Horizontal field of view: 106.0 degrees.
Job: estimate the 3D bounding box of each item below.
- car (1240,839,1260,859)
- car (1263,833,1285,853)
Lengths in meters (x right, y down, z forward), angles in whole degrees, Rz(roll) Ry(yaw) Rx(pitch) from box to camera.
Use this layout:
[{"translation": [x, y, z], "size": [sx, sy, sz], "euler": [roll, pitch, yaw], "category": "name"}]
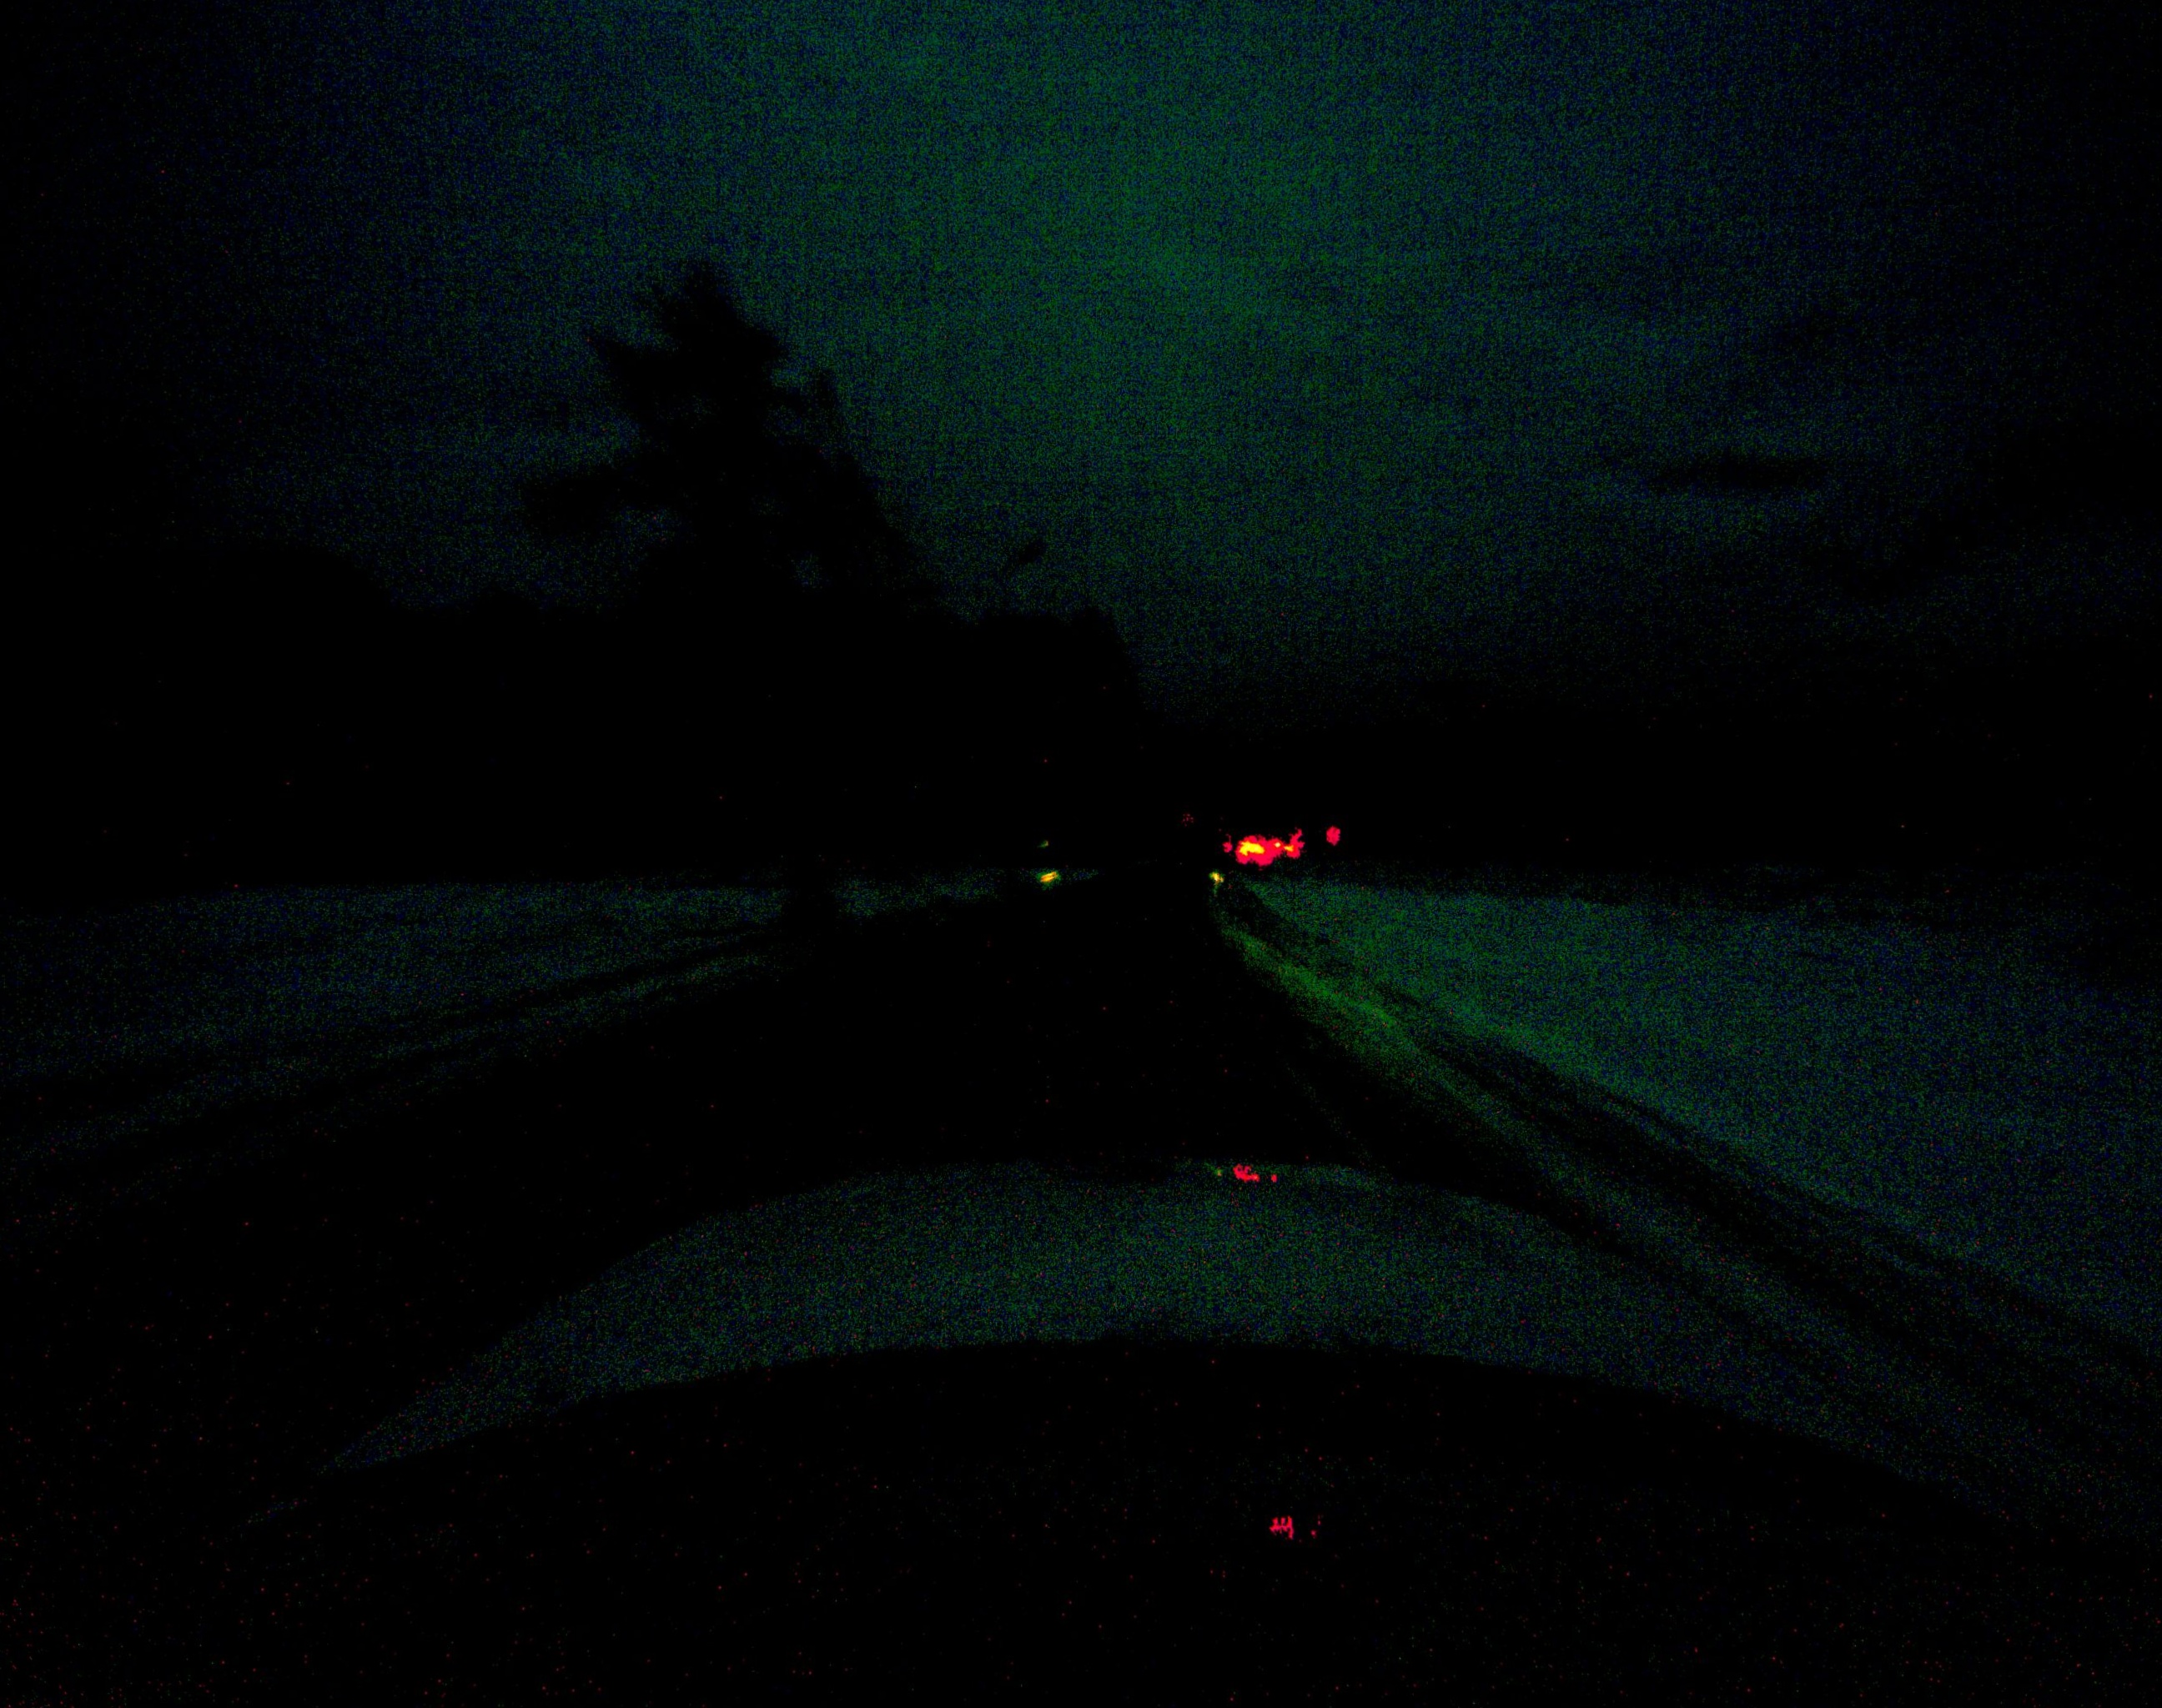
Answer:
[{"translation": [18.541, -0.583, 89.345], "size": [1.979, 2.051, 4.016], "euler": [1, 2, 14], "category": "car"}, {"translation": [26.071, -1.508, 109.761], "size": [2.233, 2.645, 5.032], "euler": [-2, 1, 20], "category": "car"}]
